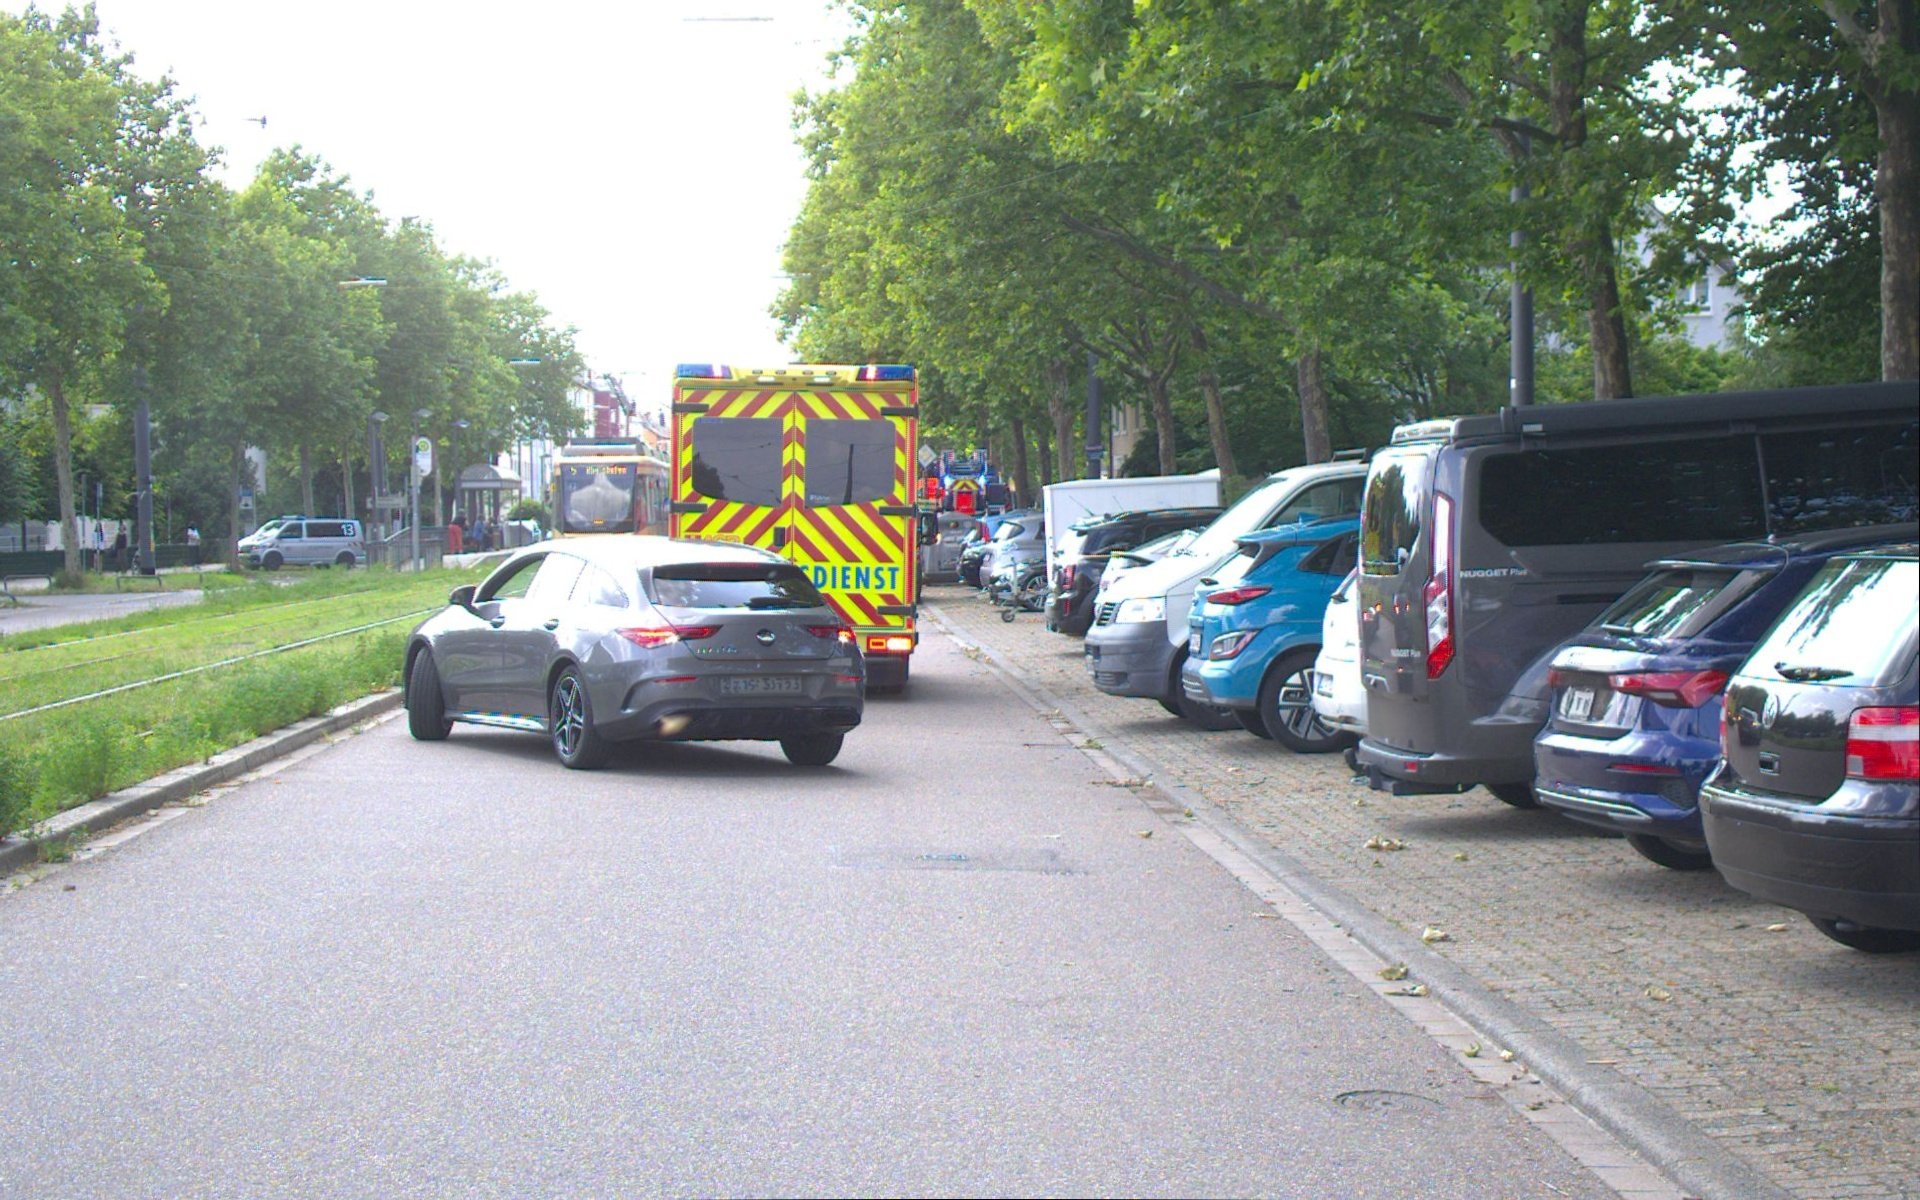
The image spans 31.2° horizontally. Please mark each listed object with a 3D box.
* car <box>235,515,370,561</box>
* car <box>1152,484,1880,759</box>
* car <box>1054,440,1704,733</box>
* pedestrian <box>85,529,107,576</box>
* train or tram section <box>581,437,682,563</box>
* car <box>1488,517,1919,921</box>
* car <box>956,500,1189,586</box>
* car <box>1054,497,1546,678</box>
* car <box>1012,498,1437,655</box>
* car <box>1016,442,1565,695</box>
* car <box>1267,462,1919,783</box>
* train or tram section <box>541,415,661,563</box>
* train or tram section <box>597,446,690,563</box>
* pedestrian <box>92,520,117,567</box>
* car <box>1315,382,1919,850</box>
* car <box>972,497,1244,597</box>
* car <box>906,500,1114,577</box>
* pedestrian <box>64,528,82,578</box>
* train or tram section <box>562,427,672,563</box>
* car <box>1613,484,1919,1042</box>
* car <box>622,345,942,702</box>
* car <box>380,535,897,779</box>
[{"bbox_3d":[-24.664,-2.331,129.020,4.615,1.627,1.882,-2,2,-41],"label":"car"},{"bbox_3d":[3.740,0.114,23.548,4.545,1.654,1.856,-2,1,-6],"label":"car"},{"bbox_3d":[3.113,-0.130,26.064,4.545,1.994,1.856,-2,1,-6],"label":"car"},{"bbox_3d":[-26.279,-1.456,104.547,0.422,1.409,0.467,0,1,23],"label":"pedestrian"},{"bbox_3d":[-9.856,-2.953,103.684,2.511,3.572,7.446,-2,1,-2],"label":"train or tram section"},{"bbox_3d":[4.311,0.397,14.000,3.965,1.489,1.756,-2,1,-2],"label":"car"},{"bbox_3d":[2.287,-1.180,70.687,4.545,1.603,1.856,-2,1,-6],"label":"car"},{"bbox_3d":[3.324,-0.143,34.142,4.545,1.603,1.856,-2,1,-6],"label":"car"},{"bbox_3d":[2.980,-0.286,39.291,4.545,1.603,1.856,-2,1,-6],"label":"car"},{"bbox_3d":[2.890,-0.300,30.652,4.545,2.036,1.856,-2,1,-6],"label":"car"},{"bbox_3d":[4.284,0.093,21.028,4.545,1.760,1.856,-2,1,-2],"label":"car"},{"bbox_3d":[-9.205,-2.798,88.818,2.511,3.572,7.446,-2,1,-2],"label":"train or tram section"},{"bbox_3d":[-10.169,-3.030,111.121,2.511,3.572,7.446,-2,1,-2],"label":"train or tram section"},{"bbox_3d":[-28.137,-1.862,113.130,0.632,1.545,0.622,-1,1,0],"label":"pedestrian"},{"bbox_3d":[4.193,0.020,17.110,4.545,2.116,1.856,-2,1,-2],"label":"car"},{"bbox_3d":[2.600,-0.952,60.842,4.545,1.603,1.856,-2,1,-6],"label":"car"},{"bbox_3d":[1.125,-1.410,78.890,4.545,1.603,1.856,-2,1,-6],"label":"car"},{"bbox_3d":[-26.482,-1.398,102.664,0.421,1.468,0.467,-1,1,-7],"label":"pedestrian"},{"bbox_3d":[-9.534,-2.875,96.244,2.511,3.572,7.446,-2,1,-2],"label":"train or tram section"},{"bbox_3d":[4.344,0.387,11.145,3.964,1.600,1.757,-2,1,-12],"label":"car"},{"bbox_3d":[-1.555,-0.716,32.545,2.641,2.956,6.300,2,1,-1],"label":"car"},{"bbox_3d":[-2.229,0.304,22.615,1.761,1.381,4.469,0,1,-28],"label":"car"}]
